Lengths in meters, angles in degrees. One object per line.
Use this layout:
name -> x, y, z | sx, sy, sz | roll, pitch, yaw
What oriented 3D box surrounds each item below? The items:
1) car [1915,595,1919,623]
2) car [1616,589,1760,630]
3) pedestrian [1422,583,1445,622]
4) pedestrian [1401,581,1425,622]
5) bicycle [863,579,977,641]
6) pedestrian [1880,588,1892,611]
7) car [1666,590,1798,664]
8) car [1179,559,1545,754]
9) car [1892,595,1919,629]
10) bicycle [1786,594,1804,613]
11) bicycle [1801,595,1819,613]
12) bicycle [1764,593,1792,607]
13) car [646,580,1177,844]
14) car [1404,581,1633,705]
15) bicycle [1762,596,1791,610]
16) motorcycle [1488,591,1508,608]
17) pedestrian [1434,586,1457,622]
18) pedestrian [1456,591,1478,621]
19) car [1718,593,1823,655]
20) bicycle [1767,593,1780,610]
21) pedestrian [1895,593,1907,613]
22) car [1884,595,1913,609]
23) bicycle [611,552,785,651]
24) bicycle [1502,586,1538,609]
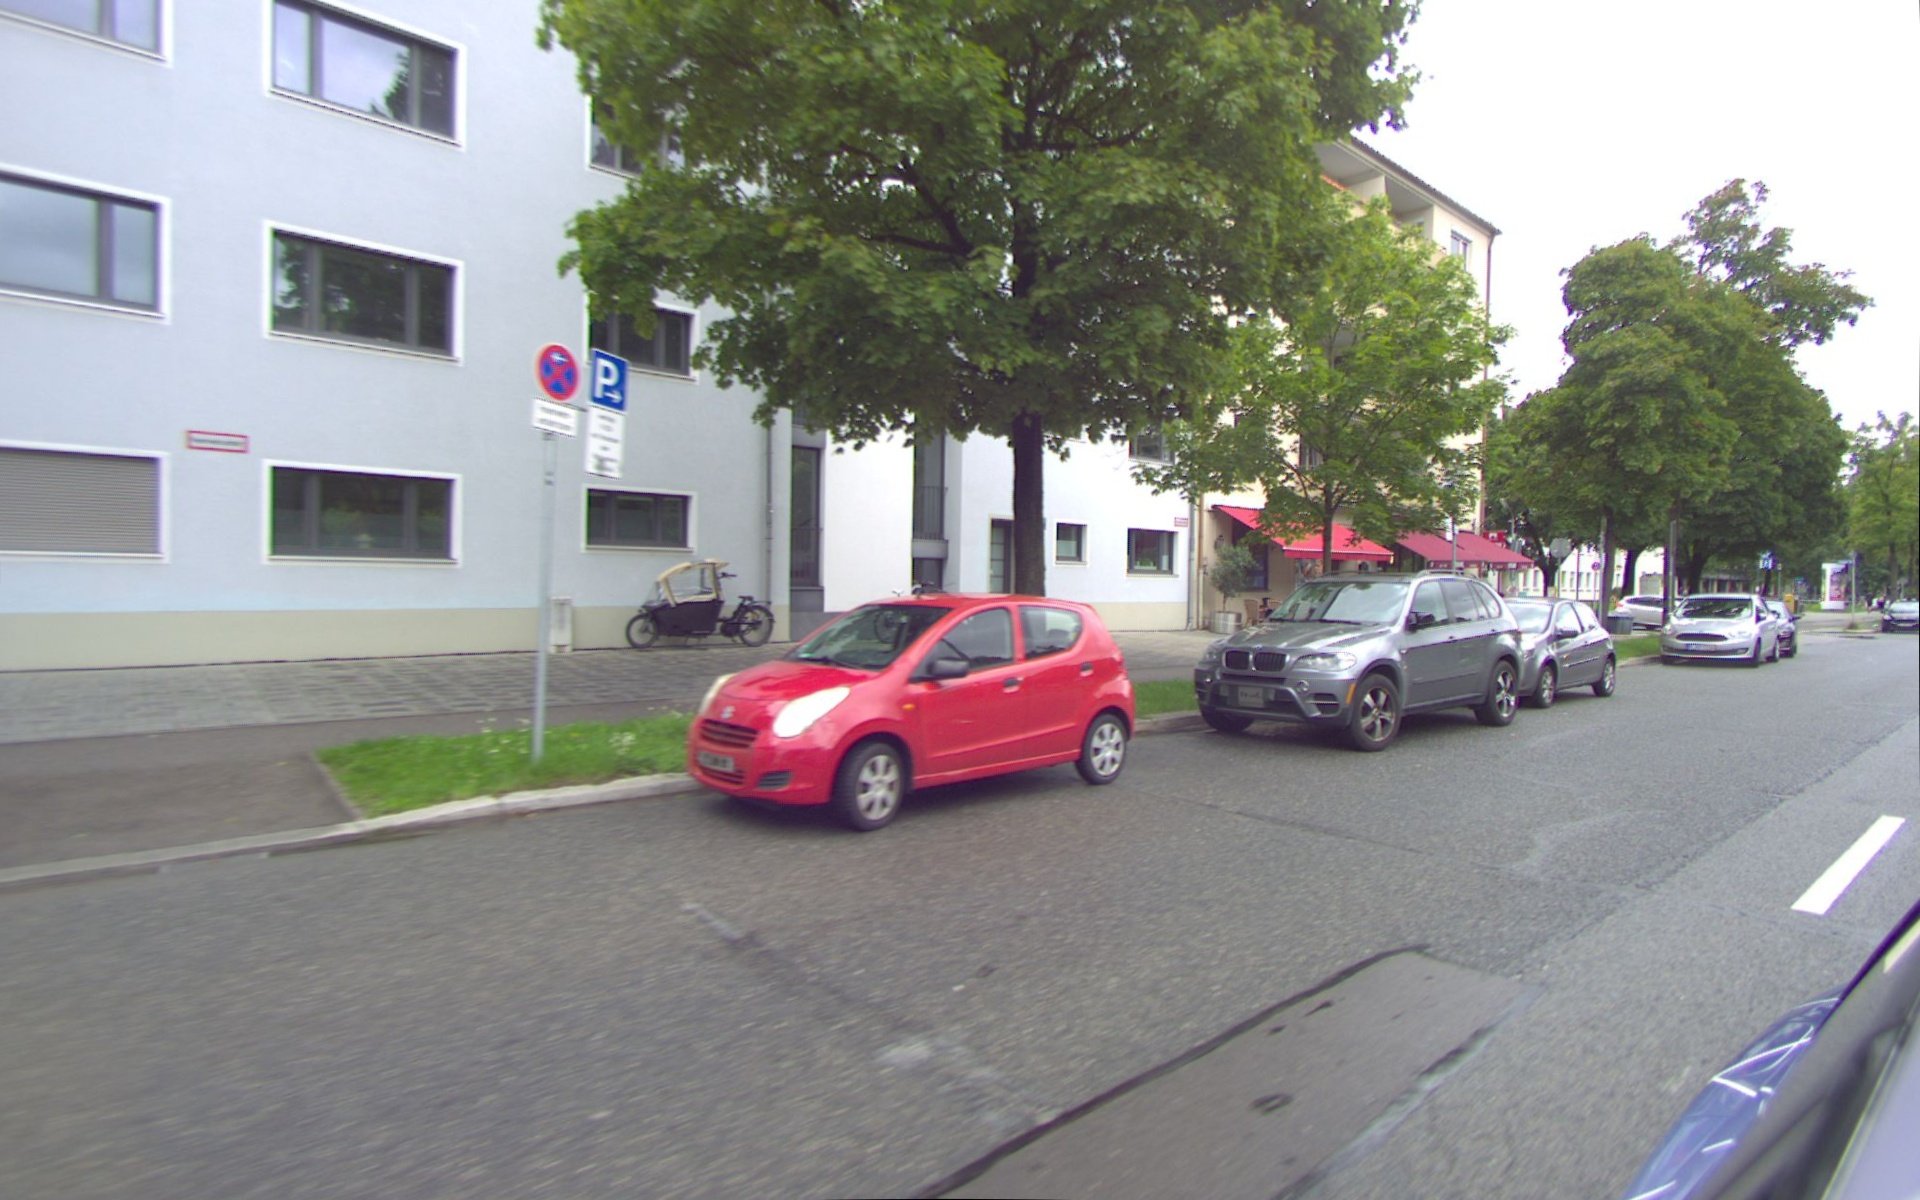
car -> 51.708, 0.444, 53.189 | 4.212, 1.455, 1.824 | 0, 0, -41
car -> 28.944, 0.330, 40.392 | 1.959, 1.460, 4.230 | 1, 1, -26
pedestrian -> 16.027, 0.079, 34.231 | 0.478, 1.284, 0.539 | 0, 1, -42
pedestrian -> 15.023, 0.047, 33.564 | 0.543, 1.355, 0.539 | 0, 1, -42
bicycle -> -0.729, 0.178, 18.886 | 2.157, 1.059, 0.623 | 0, 5, -41
pedestrian -> 74.662, -0.053, 81.586 | 0.555, 1.777, 0.651 | 1, 1, 30
car -> 17.802, 0.550, 23.269 | 4.450, 1.541, 1.830 | 0, 1, -45
car -> 4.606, 0.488, 11.302 | 4.426, 1.768, 1.834 | 0, 1, -39
car -> 43.781, 0.544, 46.058 | 3.888, 1.495, 1.646 | 1, 0, -42
bicycle -> 56.311, 0.230, 68.233 | 2.039, 1.203, 0.545 | 0, 1, -40
bicycle -> 56.259, 0.252, 66.983 | 2.039, 1.203, 0.545 | 0, 1, -40
bicycle -> 61.215, 0.000, 75.747 | 0.490, 0.927, 1.596 | 0, 3, -45
car -> -0.155, 0.613, 7.585 | 3.933, 1.459, 1.523 | 0, 1, -43
car -> 8.246, 0.535, 14.823 | 3.706, 1.541, 1.832 | 0, 1, -42
bicycle -> 59.630, 0.222, 73.876 | 0.490, 0.927, 1.596 | 0, 1, -44
motorcycle -> 36.736, -0.051, 69.100 | 1.593, 1.134, 0.606 | 0, 1, -40
pedestrian -> 16.742, 0.140, 34.885 | 0.478, 1.229, 0.539 | 0, 1, -41
pedestrian -> 17.954, 0.211, 35.826 | 0.478, 1.067, 0.539 | 0, 1, -41
car -> 21.613, 0.580, 26.944 | 1.830, 1.491, 3.826 | 2, 2, 44
bicycle -> 55.781, 0.118, 69.391 | 1.231, 1.130, 0.466 | 0, 1, -40
pedestrian -> 75.384, 0.235, 81.057 | 0.555, 1.624, 0.515 | 1, 1, 30
car -> 105.245, 0.236, 113.472 | 4.225, 1.486, 1.826 | 0, 2, -41
bicycle -> -4.032, 0.008, 15.783 | 2.547, 1.424, 0.704 | 0, 4, -41
bicycle -> 29.397, -0.157, 53.134 | 0.687, 1.170, 1.471 | 0, 1, -42
